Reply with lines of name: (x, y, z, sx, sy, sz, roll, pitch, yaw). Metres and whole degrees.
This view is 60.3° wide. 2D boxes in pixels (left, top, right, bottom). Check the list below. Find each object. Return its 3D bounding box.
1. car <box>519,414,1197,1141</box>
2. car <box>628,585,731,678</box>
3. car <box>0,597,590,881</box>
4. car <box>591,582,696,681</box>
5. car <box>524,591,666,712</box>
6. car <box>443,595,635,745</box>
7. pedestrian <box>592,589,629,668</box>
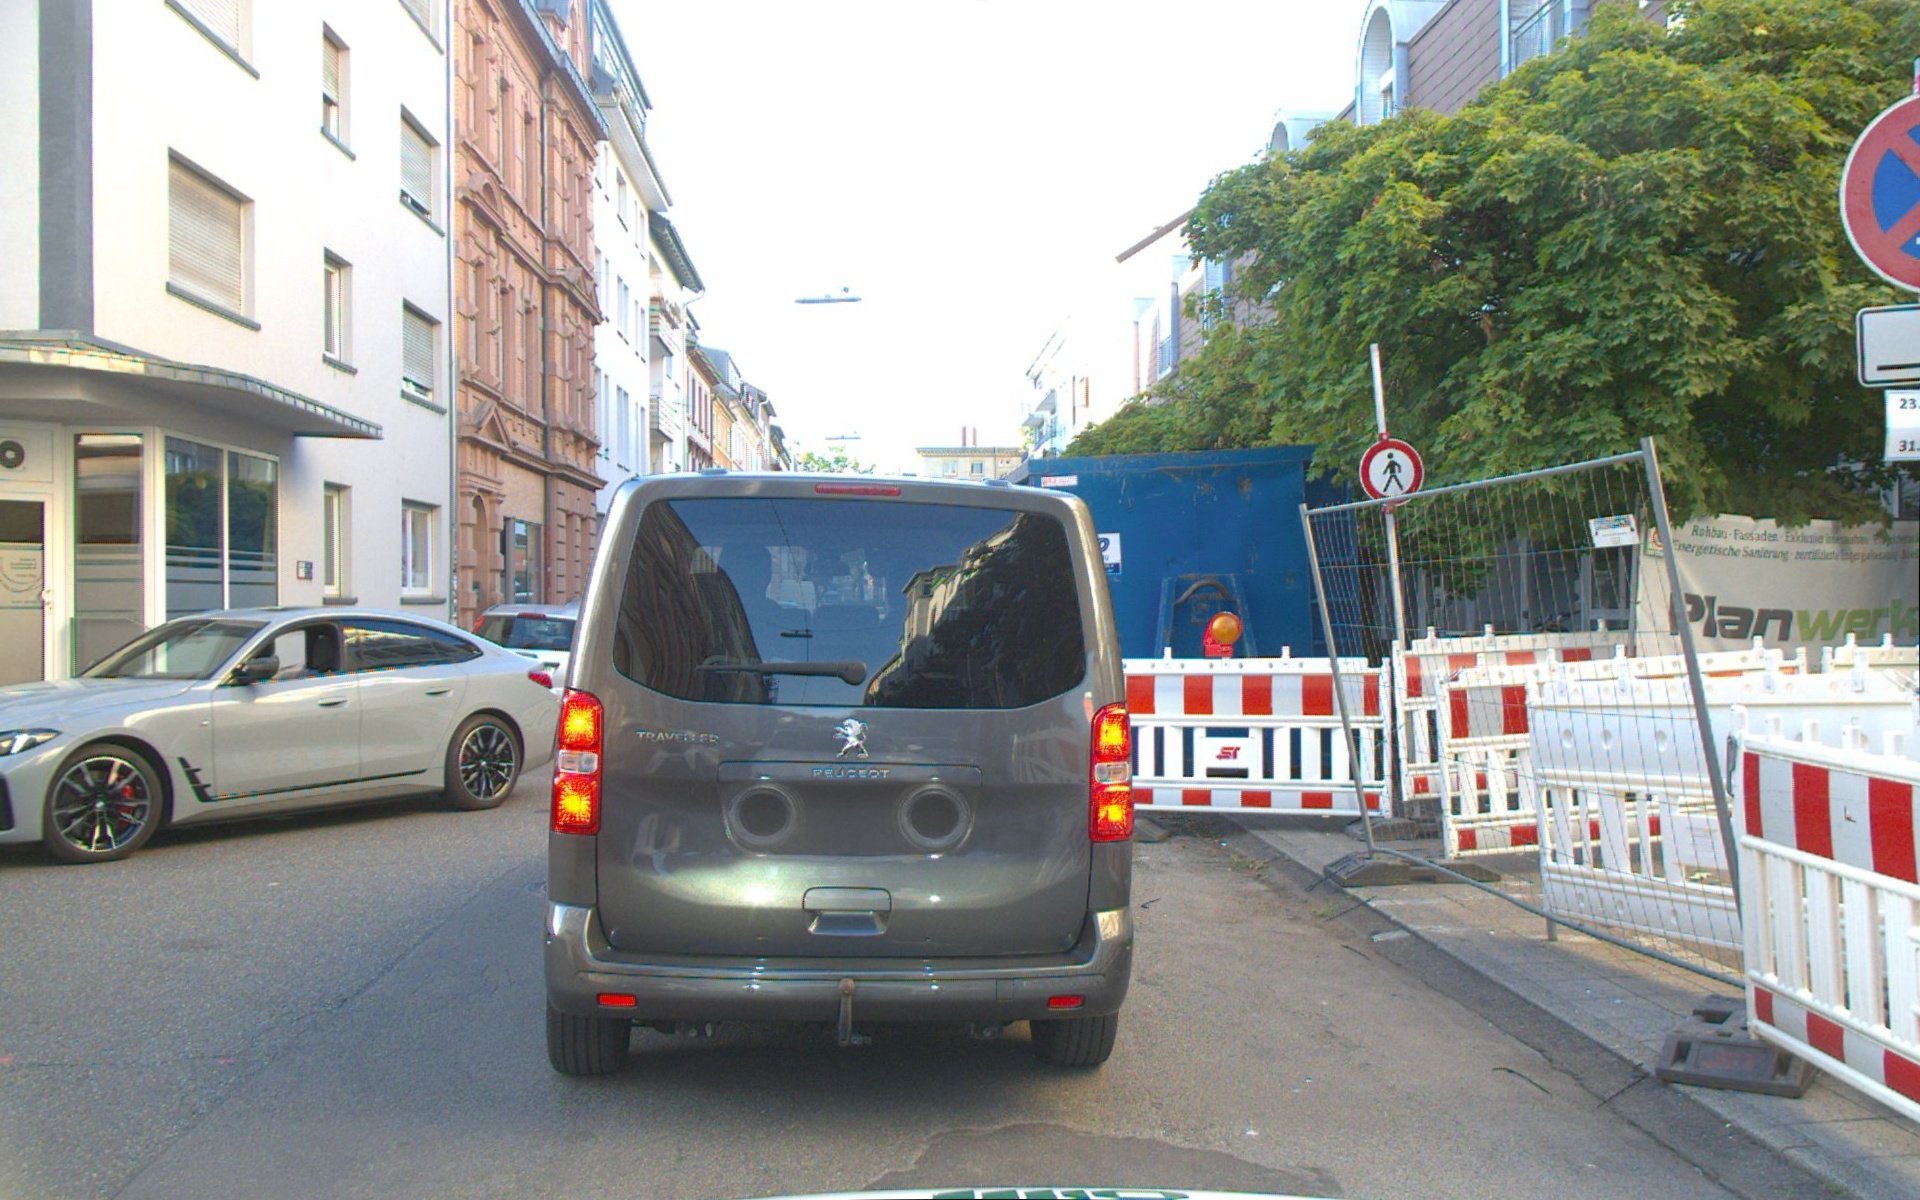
car: (-0.493, 0.492, 6.588, 1.829, 1.919, 4.229, 0, -1, -7)
car: (-5.937, 0.662, 35.335, 1.856, 1.749, 3.748, 4, -1, -7)
car: (-4.839, 0.736, 11.086, 1.891, 1.477, 4.803, 0, 0, 29)
car: (-6.020, 0.590, 31.690, 1.635, 1.695, 3.087, 4, -1, -7)
car: (-5.354, 0.734, 24.615, 1.625, 1.552, 3.413, 4, -1, -7)
car: (-4.813, 0.763, 19.315, 1.625, 1.485, 3.413, 4, -1, -7)
pedestrian: (-7.636, 0.621, 36.158, 0.726, 1.693, 0.702, -1, 0, -8)
